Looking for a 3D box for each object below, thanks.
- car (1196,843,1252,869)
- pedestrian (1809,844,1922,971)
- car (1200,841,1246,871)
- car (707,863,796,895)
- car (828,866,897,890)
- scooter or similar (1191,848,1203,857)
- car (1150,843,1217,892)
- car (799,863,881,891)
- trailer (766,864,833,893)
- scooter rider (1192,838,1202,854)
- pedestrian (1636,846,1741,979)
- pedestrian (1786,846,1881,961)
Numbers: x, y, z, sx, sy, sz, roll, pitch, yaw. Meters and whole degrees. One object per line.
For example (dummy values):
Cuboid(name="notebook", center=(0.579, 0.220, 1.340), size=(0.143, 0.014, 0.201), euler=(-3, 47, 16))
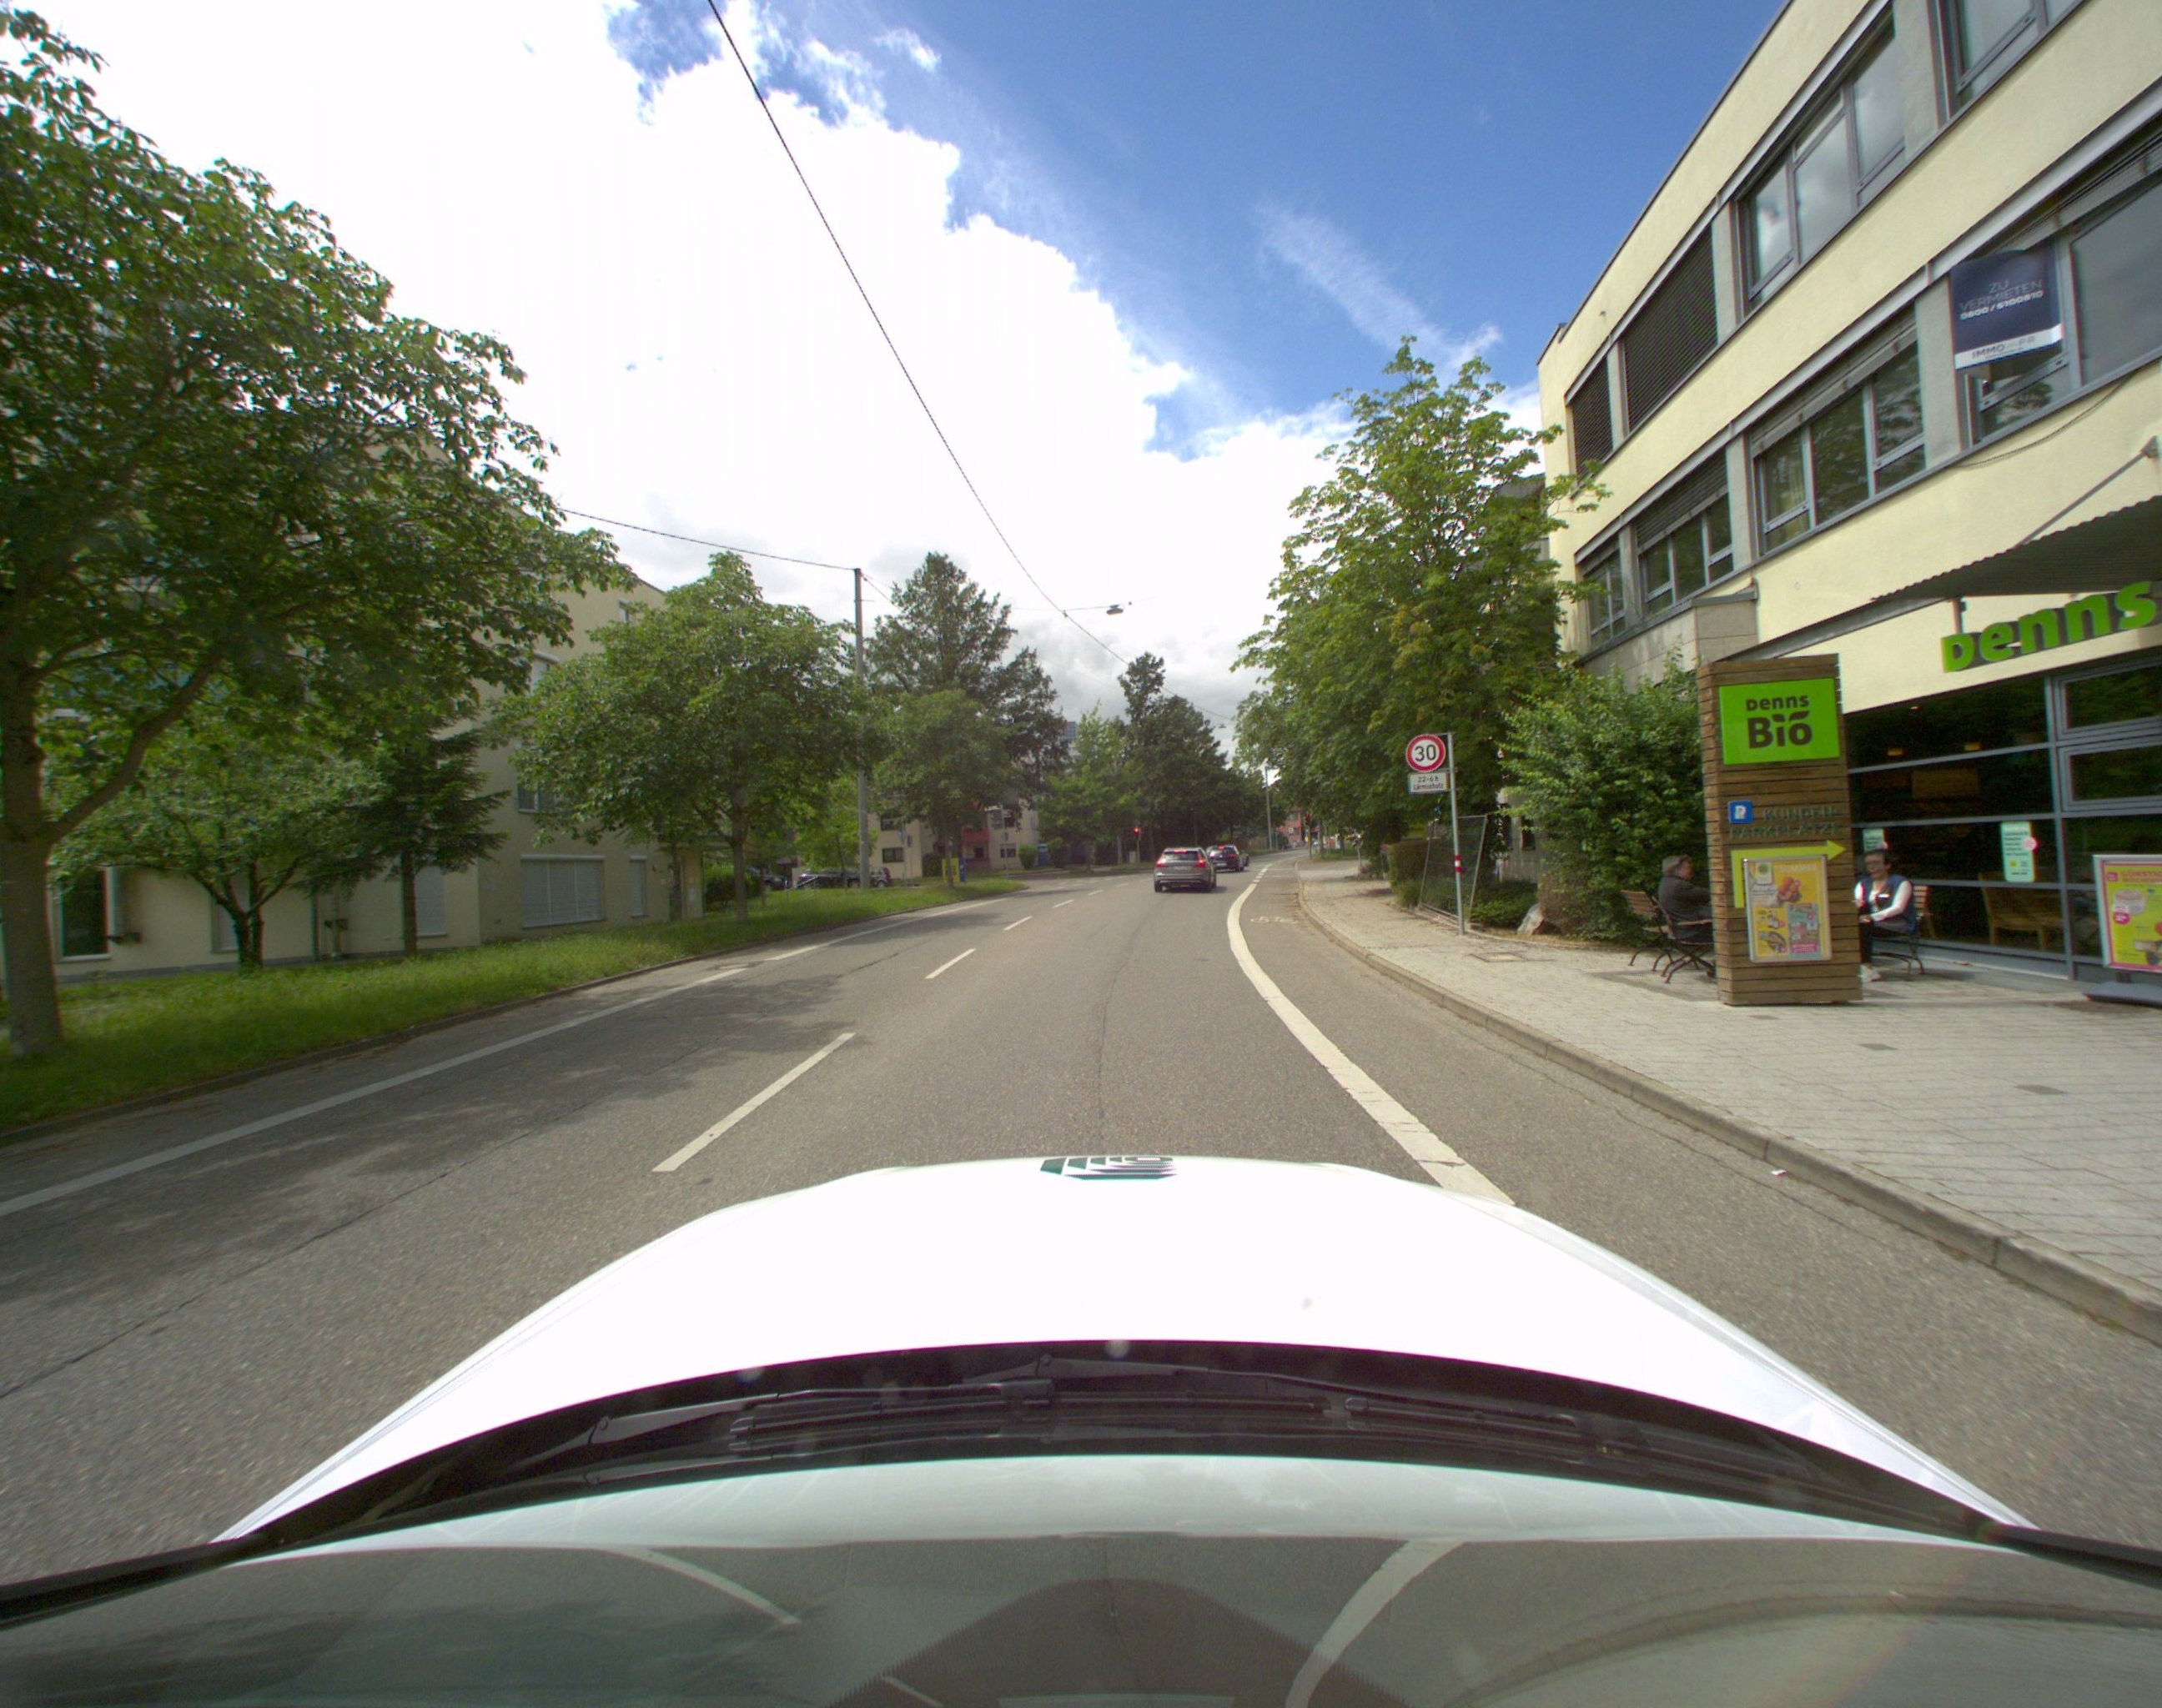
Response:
Cuboid(name="car", center=(9.373, 0.119, 53.137), size=(1.787, 1.616, 4.356), euler=(0, 0, 37))
Cuboid(name="pedestrian", center=(7.763, 0.518, 8.077), size=(0.574, 1.204, 0.503), euler=(-2, -1, 3))
Cuboid(name="car", center=(7.745, 0.070, 44.229), size=(1.789, 1.523, 4.350), euler=(0, 1, 19))
Cuboid(name="car", center=(-18.653, 1.392, 46.234), size=(4.160, 1.523, 1.902), euler=(-3, 0, 1))
Cuboid(name="car", center=(-14.674, 1.630, 54.751), size=(4.062, 1.400, 1.795), euler=(-2, -4, 1))
Cuboid(name="scooter or similar", center=(12.277, -0.153, 86.301), size=(0.957, 0.962, 0.685), euler=(-3, -1, -25))
Cuboid(name="car", center=(3.624, 0.395, 28.145), size=(1.943, 1.523, 4.343), euler=(0, 1, 11))
Cuboid(name="car", center=(-13.528, 1.303, 45.845), size=(4.062, 1.400, 1.795), euler=(-2, -4, 1))
Cuboid(name="trailer", center=(-18.960, 1.664, 54.986), size=(3.894, 1.799, 1.630), euler=(-2, -4, -1))
Cuboid(name="scooter rider", center=(12.268, -0.842, 86.326), size=(0.708, 1.727, 0.674), euler=(-1, -1, -24))
Cuboid(name="pedestrian", center=(6.283, 0.593, 8.453), size=(0.683, 1.316, 0.581), euler=(-2, -1, 19))
Cuboid(name="pedestrian", center=(8.134, 0.524, 8.812), size=(0.521, 1.181, 0.500), euler=(-2, -1, -8))
